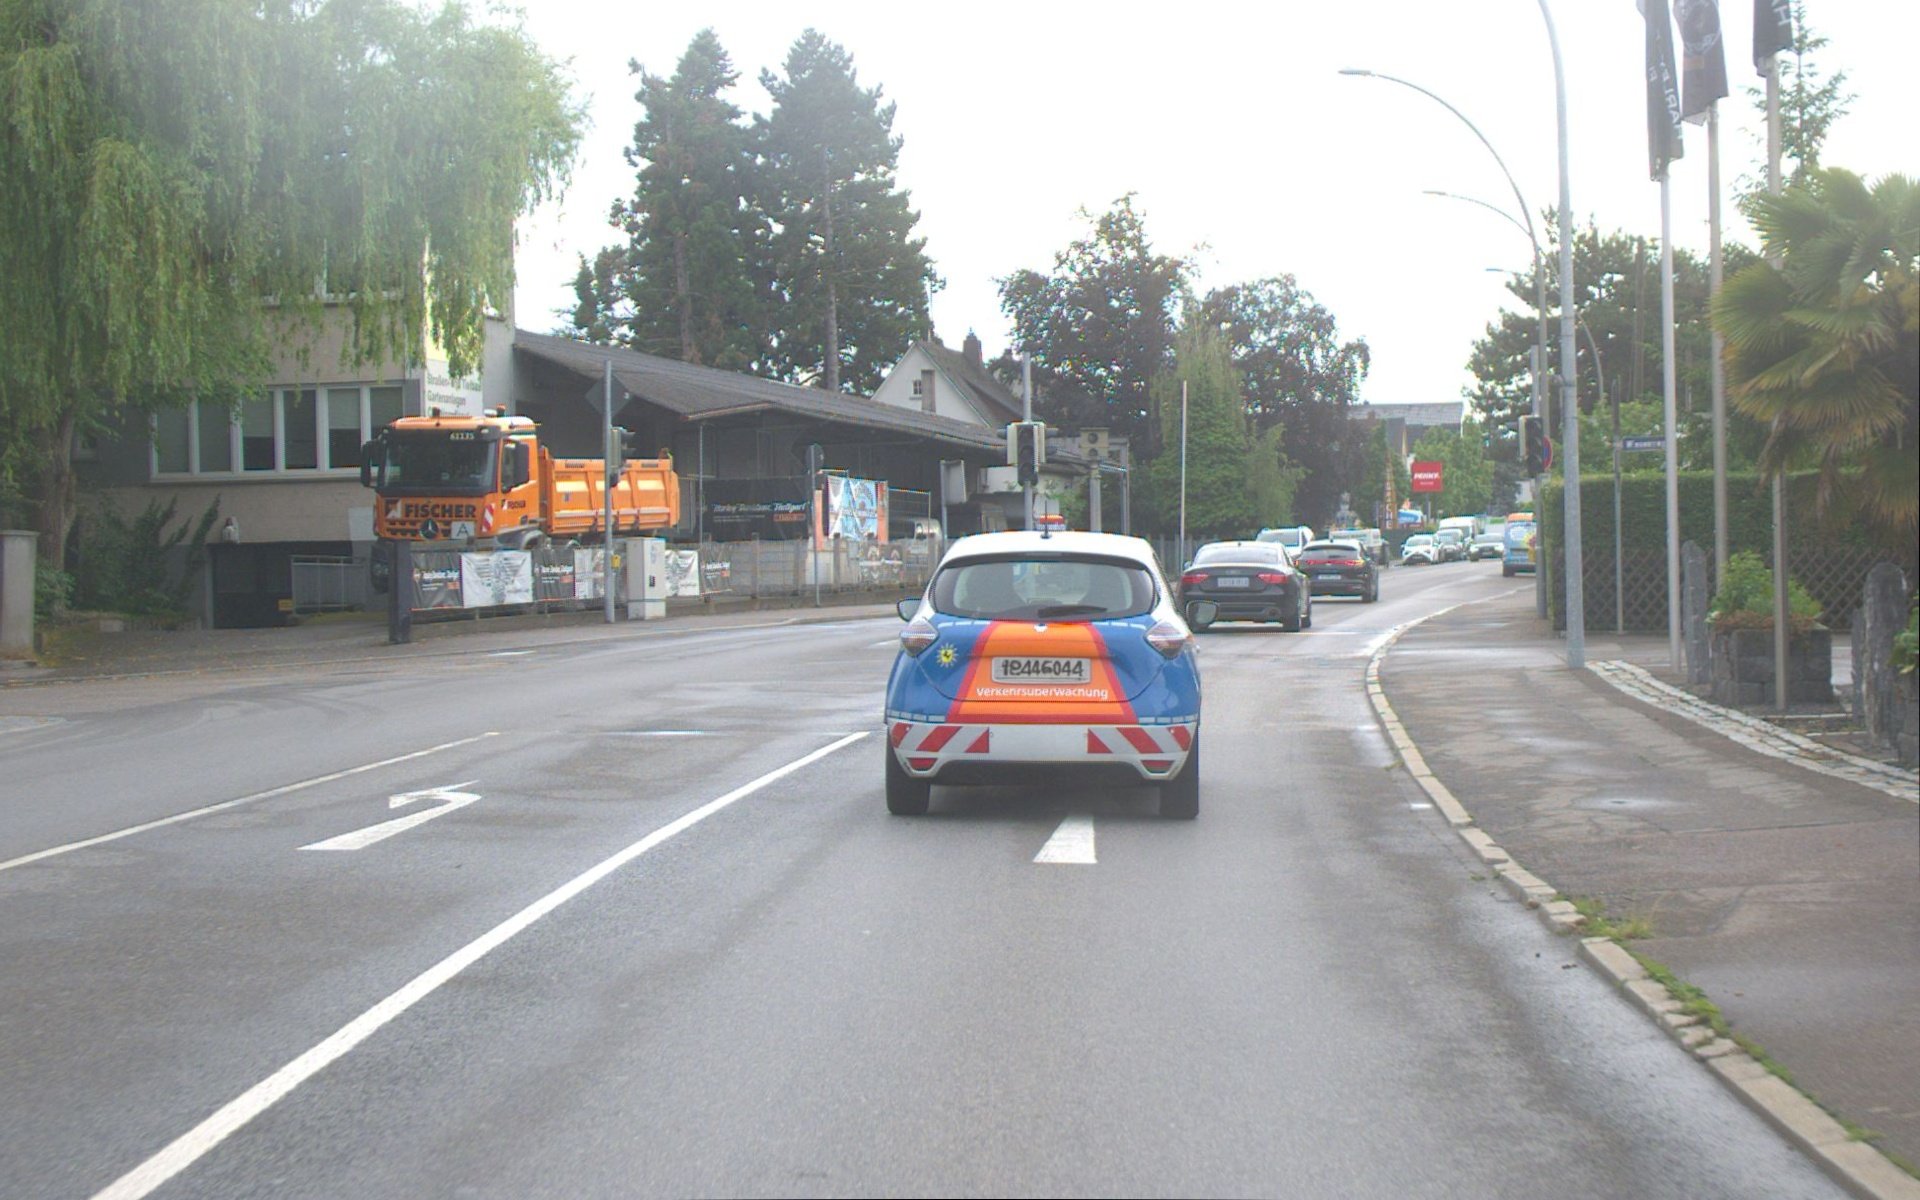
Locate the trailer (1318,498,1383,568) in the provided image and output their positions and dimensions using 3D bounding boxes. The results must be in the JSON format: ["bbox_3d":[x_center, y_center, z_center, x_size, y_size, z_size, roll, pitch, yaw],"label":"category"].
[{"bbox_3d":[16.808,-2.886,147.682,2.221,2.005,4.437,-11,7,11],"label":"trailer"}]

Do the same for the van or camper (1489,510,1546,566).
[{"bbox_3d":[19.087,-2.130,117.620,1.755,1.876,3.998,0,1,12],"label":"van or camper"}]

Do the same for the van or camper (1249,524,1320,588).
[{"bbox_3d":[11.448,-1.535,121.012,1.891,2.007,5.094,2,-1,12],"label":"van or camper"}]

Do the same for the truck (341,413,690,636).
[{"bbox_3d":[-7.532,-1.179,59.899,2.699,3.400,9.065,2,-1,15],"label":"truck"}]

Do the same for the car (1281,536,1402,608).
[{"bbox_3d":[8.543,-0.609,76.665,1.995,1.415,3.997,2,-1,16],"label":"car"}]

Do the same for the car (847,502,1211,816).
[{"bbox_3d":[0.498,0.270,19.976,1.889,1.626,4.000,-1,1,4],"label":"car"}]

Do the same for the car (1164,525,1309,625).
[{"bbox_3d":[4.160,-0.347,52.250,1.720,1.371,3.934,2,-1,-2],"label":"car"}]

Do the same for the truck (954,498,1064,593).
[{"bbox_3d":[1.658,-1.758,113.118,2.396,2.917,5.954,2,0,12],"label":"truck"}]
